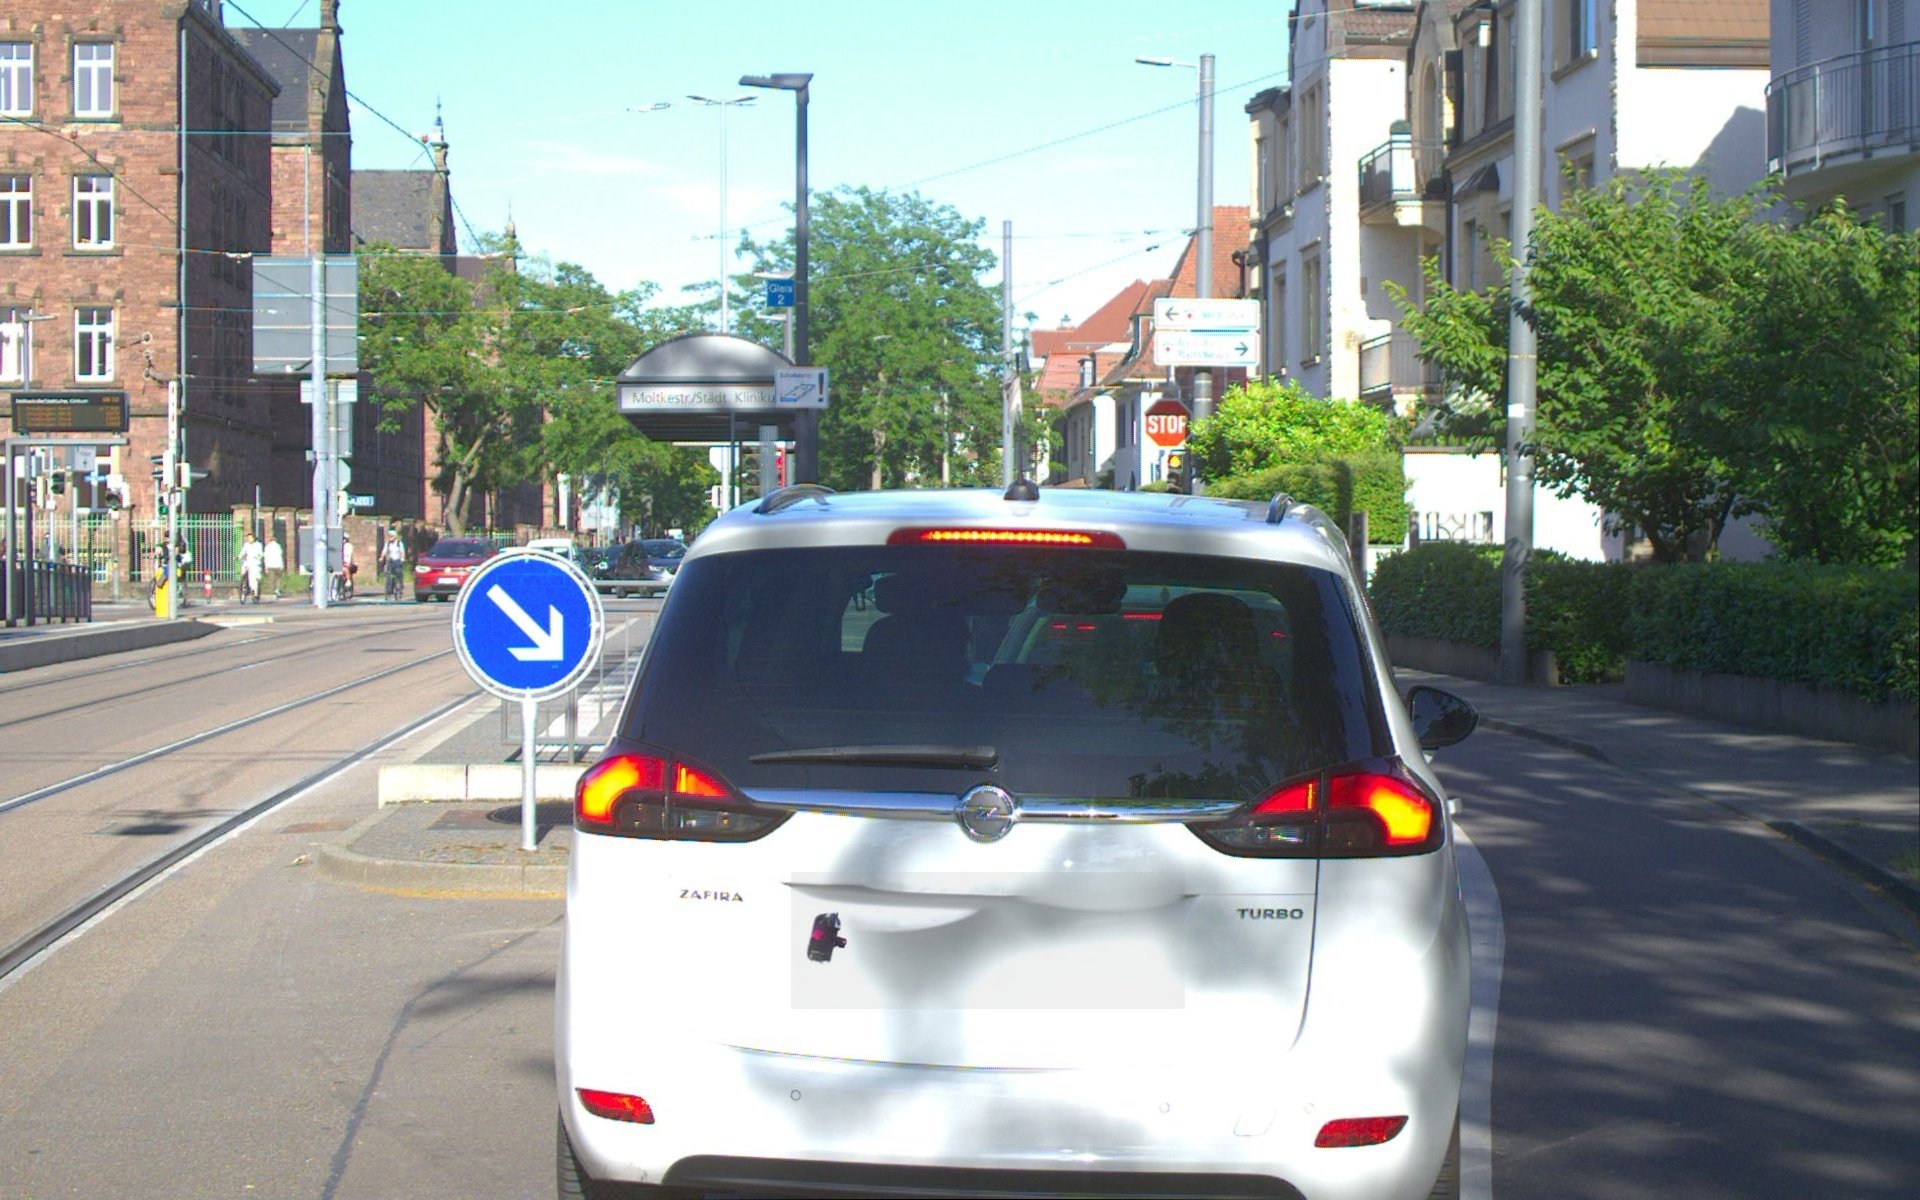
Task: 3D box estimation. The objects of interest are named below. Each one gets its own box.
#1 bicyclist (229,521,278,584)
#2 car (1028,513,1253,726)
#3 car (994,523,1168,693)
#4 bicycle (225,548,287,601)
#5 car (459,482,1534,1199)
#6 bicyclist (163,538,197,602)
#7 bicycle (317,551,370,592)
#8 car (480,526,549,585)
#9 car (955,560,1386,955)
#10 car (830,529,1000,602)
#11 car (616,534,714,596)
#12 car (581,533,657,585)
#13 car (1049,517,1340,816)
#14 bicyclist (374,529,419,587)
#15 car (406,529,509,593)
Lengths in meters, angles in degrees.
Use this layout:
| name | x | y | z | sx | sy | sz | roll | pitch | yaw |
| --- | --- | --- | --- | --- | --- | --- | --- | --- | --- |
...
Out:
| name | x | y | z | sx | sy | sz | roll | pitch | yaw |
| --- | --- | --- | --- | --- | --- | --- | --- | --- | --- |
| bicyclist | -17.279 | -1.151 | 84.110 | 0.757 | 1.466 | 1.190 | 0 | -3 | 10 |
| car | 1.468 | 0.121 | 29.182 | 1.596 | 1.629 | 3.901 | 2 | 1 | -1 |
| car | 1.227 | 0.045 | 36.280 | 1.596 | 1.629 | 3.901 | 2 | 1 | -1 |
| bicycle | -17.244 | -0.623 | 84.249 | 0.815 | 1.195 | 1.951 | -1 | -3 | 10 |
| car | 0.221 | 0.570 | 8.107 | 1.878 | 1.579 | 3.999 | 2 | 1 | 5 |
| bicyclist | -17.703 | -0.686 | 78.036 | 0.653 | 1.454 | 1.152 | 0 | 1 | -7 |
| bicycle | -16.567 | -0.772 | 92.444 | 0.669 | 1.068 | 2.014 | 2 | 1 | 13 |
| car | -13.733 | -1.382 | 106.137 | 1.698 | 1.803 | 4.000 | 0 | 1 | -1 |
| car | 0.950 | 0.567 | 14.798 | 1.569 | 1.396 | 3.783 | 2 | 1 | 5 |
| car | -1.138 | -0.886 | 86.229 | 3.992 | 1.802 | 1.522 | 1 | 1 | 25 |
| car | -7.931 | -0.958 | 92.111 | 1.666 | 1.624 | 4.001 | 0 | 1 | -19 |
| car | -10.787 | -1.312 | 109.078 | 1.993 | 1.590 | 4.000 | 0 | 1 | 0 |
| car | 1.469 | 0.333 | 21.047 | 1.569 | 1.609 | 3.783 | 2 | 1 | 5 |
| bicyclist | -15.125 | -1.135 | 92.310 | 0.761 | 1.531 | 1.347 | 2 | 1 | 10 |
| car | -12.791 | -1.013 | 87.738 | 1.818 | 1.601 | 4.359 | 0 | 1 | 3 |
